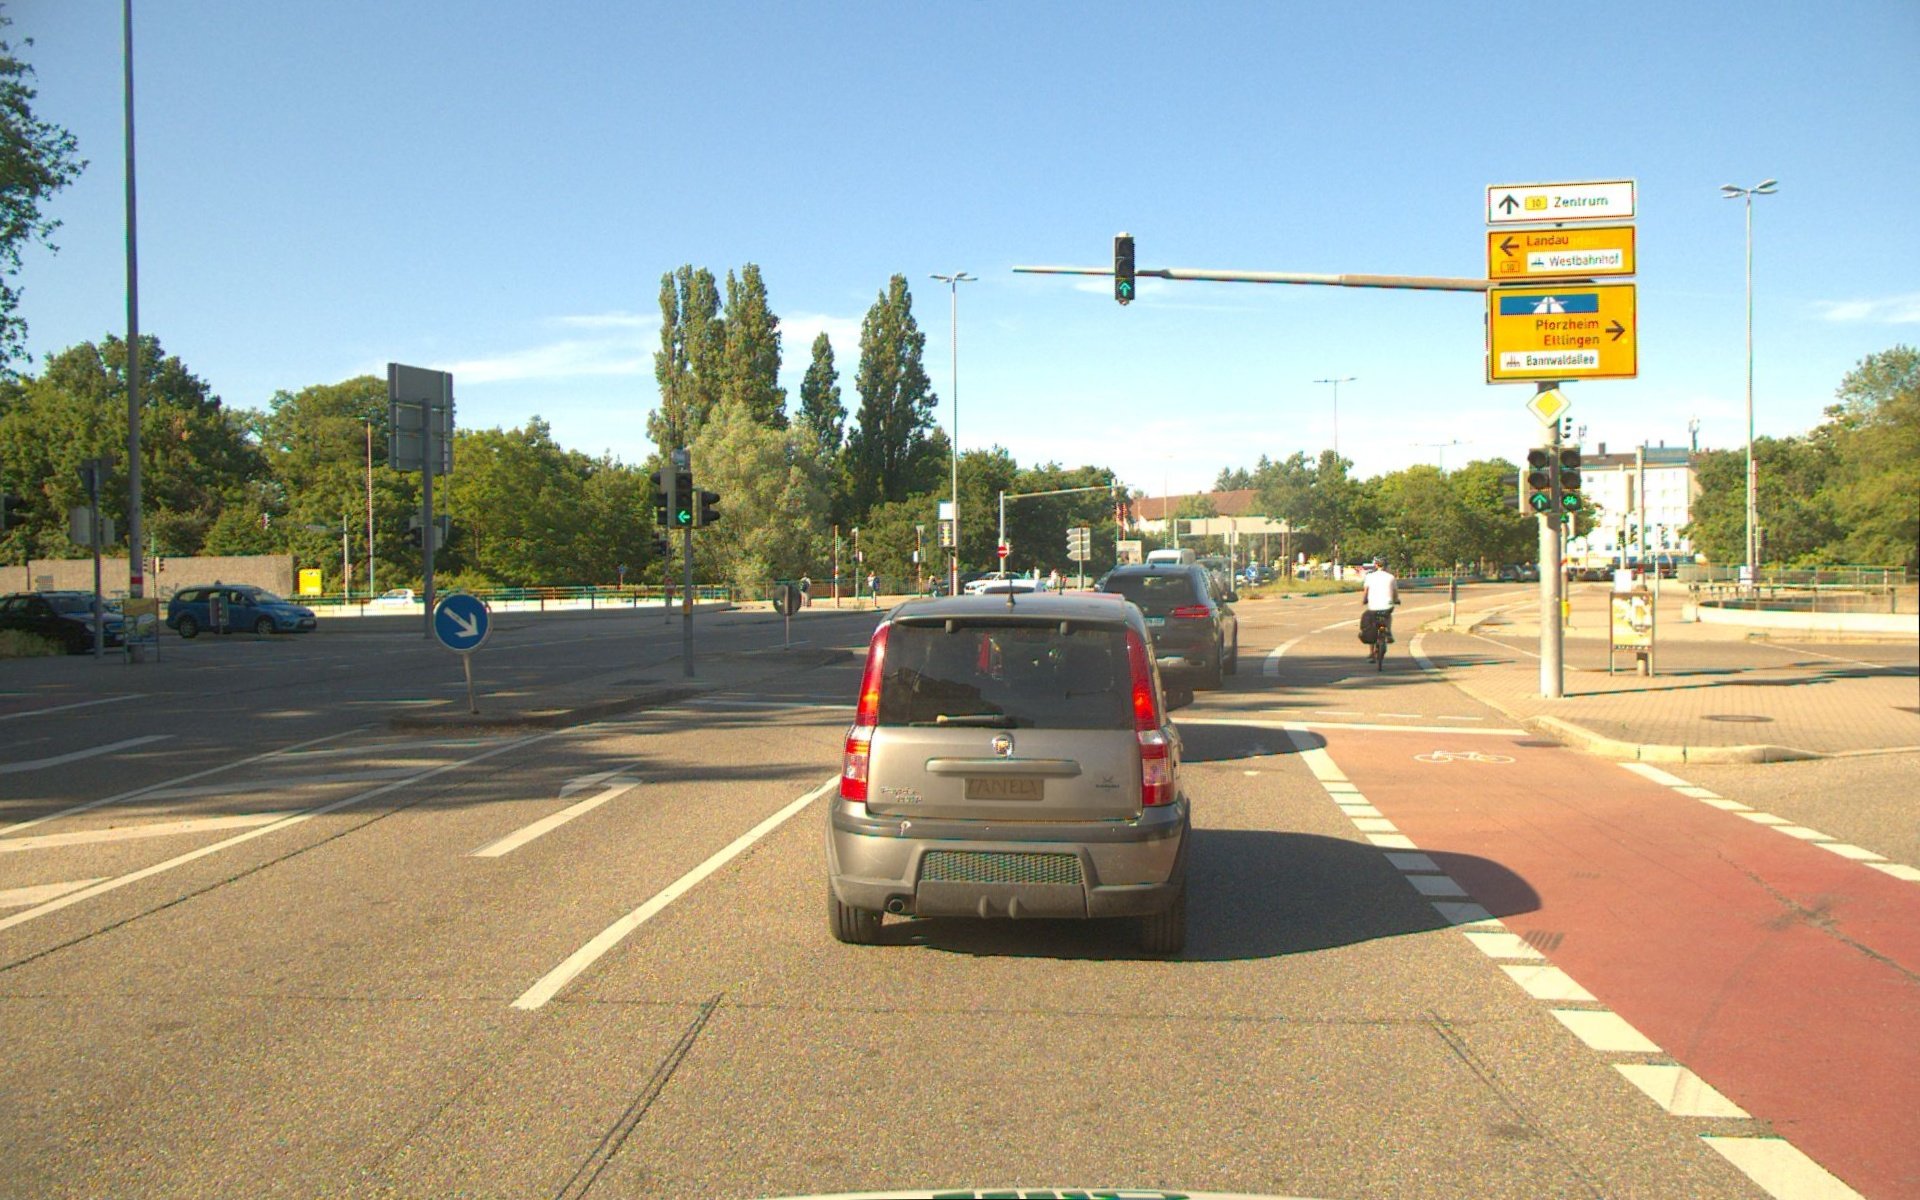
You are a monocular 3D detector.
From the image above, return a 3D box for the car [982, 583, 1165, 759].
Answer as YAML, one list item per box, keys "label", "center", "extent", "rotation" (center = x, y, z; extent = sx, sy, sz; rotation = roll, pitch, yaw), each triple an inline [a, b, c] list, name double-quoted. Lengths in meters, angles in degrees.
- label: "car"
  center: [1.202, 0.604, 16.312]
  extent: [1.583, 1.488, 3.754]
  rotation: [0, 1, 7]

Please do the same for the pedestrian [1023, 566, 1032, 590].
- label: "pedestrian"
  center: [4.962, -1.616, 121.066]
  extent: [0.488, 1.731, 0.500]
  rotation: [1, -1, 23]

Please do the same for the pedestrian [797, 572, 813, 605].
- label: "pedestrian"
  center: [-6.929, -0.519, 73.886]
  extent: [0.666, 1.488, 0.702]
  rotation: [-1, 1, -7]

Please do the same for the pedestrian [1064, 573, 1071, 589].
- label: "pedestrian"
  center: [8.108, -1.443, 124.745]
  extent: [0.415, 1.156, 0.397]
  rotation: [1, -1, 24]

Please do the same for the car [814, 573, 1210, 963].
- label: "car"
  center: [0.419, 0.641, 8.546]
  extent: [1.583, 1.542, 3.823]
  rotation: [0, 1, 7]

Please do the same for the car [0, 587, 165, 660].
- label: "car"
  center: [-21.513, 0.541, 39.172]
  extent: [4.668, 1.649, 1.953]
  rotation: [0, 1, 15]

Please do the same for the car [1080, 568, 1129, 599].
- label: "car"
  center: [8.013, -0.926, 91.333]
  extent: [1.895, 1.534, 4.003]
  rotation: [-2, 1, 16]

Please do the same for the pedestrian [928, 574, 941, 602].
- label: "pedestrian"
  center: [-1.465, -0.686, 95.385]
  extent: [0.547, 1.574, 0.573]
  rotation: [-1, 0, -17]

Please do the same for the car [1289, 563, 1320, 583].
- label: "car"
  center: [33.988, -2.701, 163.105]
  extent: [1.955, 1.847, 3.994]
  rotation: [1, -1, 28]

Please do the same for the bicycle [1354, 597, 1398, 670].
- label: "bicycle"
  center: [6.909, 0.531, 27.447]
  extent: [0.676, 1.121, 1.828]
  rotation: [1, 1, 15]

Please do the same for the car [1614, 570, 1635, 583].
- label: "car"
  center: [79.667, -2.804, 198.228]
  extent: [1.908, 1.555, 4.093]
  rotation: [0, 1, 27]

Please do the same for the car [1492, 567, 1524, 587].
- label: "car"
  center: [43.979, -1.867, 132.718]
  extent: [1.907, 1.555, 4.094]
  rotation: [0, 1, 26]

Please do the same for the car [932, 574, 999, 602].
- label: "car"
  center: [0.351, -0.728, 103.852]
  extent: [3.962, 1.654, 1.874]
  rotation: [1, -1, -40]

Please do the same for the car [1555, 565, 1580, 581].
- label: "car"
  center: [63.087, -2.791, 171.713]
  extent: [1.907, 1.555, 4.093]
  rotation: [0, 1, 27]

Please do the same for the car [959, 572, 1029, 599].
- label: "car"
  center: [2.101, -0.904, 101.222]
  extent: [4.293, 1.562, 1.757]
  rotation: [-2, 2, -43]

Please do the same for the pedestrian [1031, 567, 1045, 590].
- label: "pedestrian"
  center: [5.661, -1.557, 120.152]
  extent: [0.624, 1.693, 0.779]
  rotation: [2, -1, -42]

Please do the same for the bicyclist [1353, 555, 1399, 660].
- label: "bicyclist"
  center: [6.886, 0.107, 27.340]
  extent: [0.708, 1.688, 1.114]
  rotation: [1, 1, 15]

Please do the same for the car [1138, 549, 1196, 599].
- label: "car"
  center: [11.279, -1.437, 89.823]
  extent: [1.896, 2.621, 6.091]
  rotation: [0, 1, 19]

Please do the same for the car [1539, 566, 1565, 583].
- label: "car"
  center: [57.755, -2.493, 161.312]
  extent: [1.908, 1.555, 4.093]
  rotation: [0, 1, 27]

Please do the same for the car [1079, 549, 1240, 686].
- label: "car"
  center: [3.073, 0.201, 24.798]
  extent: [1.904, 1.872, 4.156]
  rotation: [0, 1, 14]

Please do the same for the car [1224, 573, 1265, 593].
- label: "car"
  center: [22.414, -1.358, 130.213]
  extent: [1.956, 1.474, 3.993]
  rotation: [1, -1, 29]

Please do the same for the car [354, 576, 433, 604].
- label: "car"
  center: [-32.889, -0.600, 96.040]
  extent: [3.904, 1.534, 2.001]
  rotation: [0, 1, 21]

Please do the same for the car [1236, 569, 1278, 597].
- label: "car"
  center: [18.207, -1.061, 101.218]
  extent: [1.896, 1.650, 4.508]
  rotation: [0, 1, 19]

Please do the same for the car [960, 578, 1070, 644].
- label: "car"
  center: [1.365, 0.224, 39.265]
  extent: [1.742, 1.439, 4.323]
  rotation: [0, 1, 14]

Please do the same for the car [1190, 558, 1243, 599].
- label: "car"
  center: [13.389, -1.155, 86.173]
  extent: [1.896, 2.043, 4.934]
  rotation: [0, 1, 19]

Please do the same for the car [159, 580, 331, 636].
- label: "car"
  center: [-21.141, 0.223, 48.967]
  extent: [4.348, 1.567, 1.953]
  rotation: [-1, 1, 12]

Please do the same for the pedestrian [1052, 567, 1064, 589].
- label: "pedestrian"
  center: [7.431, -1.661, 125.019]
  extent: [0.706, 1.670, 0.672]
  rotation: [1, -1, 24]

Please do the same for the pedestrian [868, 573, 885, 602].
- label: "pedestrian"
  center: [-4.610, -0.695, 91.691]
  extent: [0.699, 1.574, 0.724]
  rotation: [-1, -1, -22]

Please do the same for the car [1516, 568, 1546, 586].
- label: "car"
  center: [49.757, -1.989, 144.007]
  extent: [1.907, 1.555, 4.093]
  rotation: [0, 1, 27]
